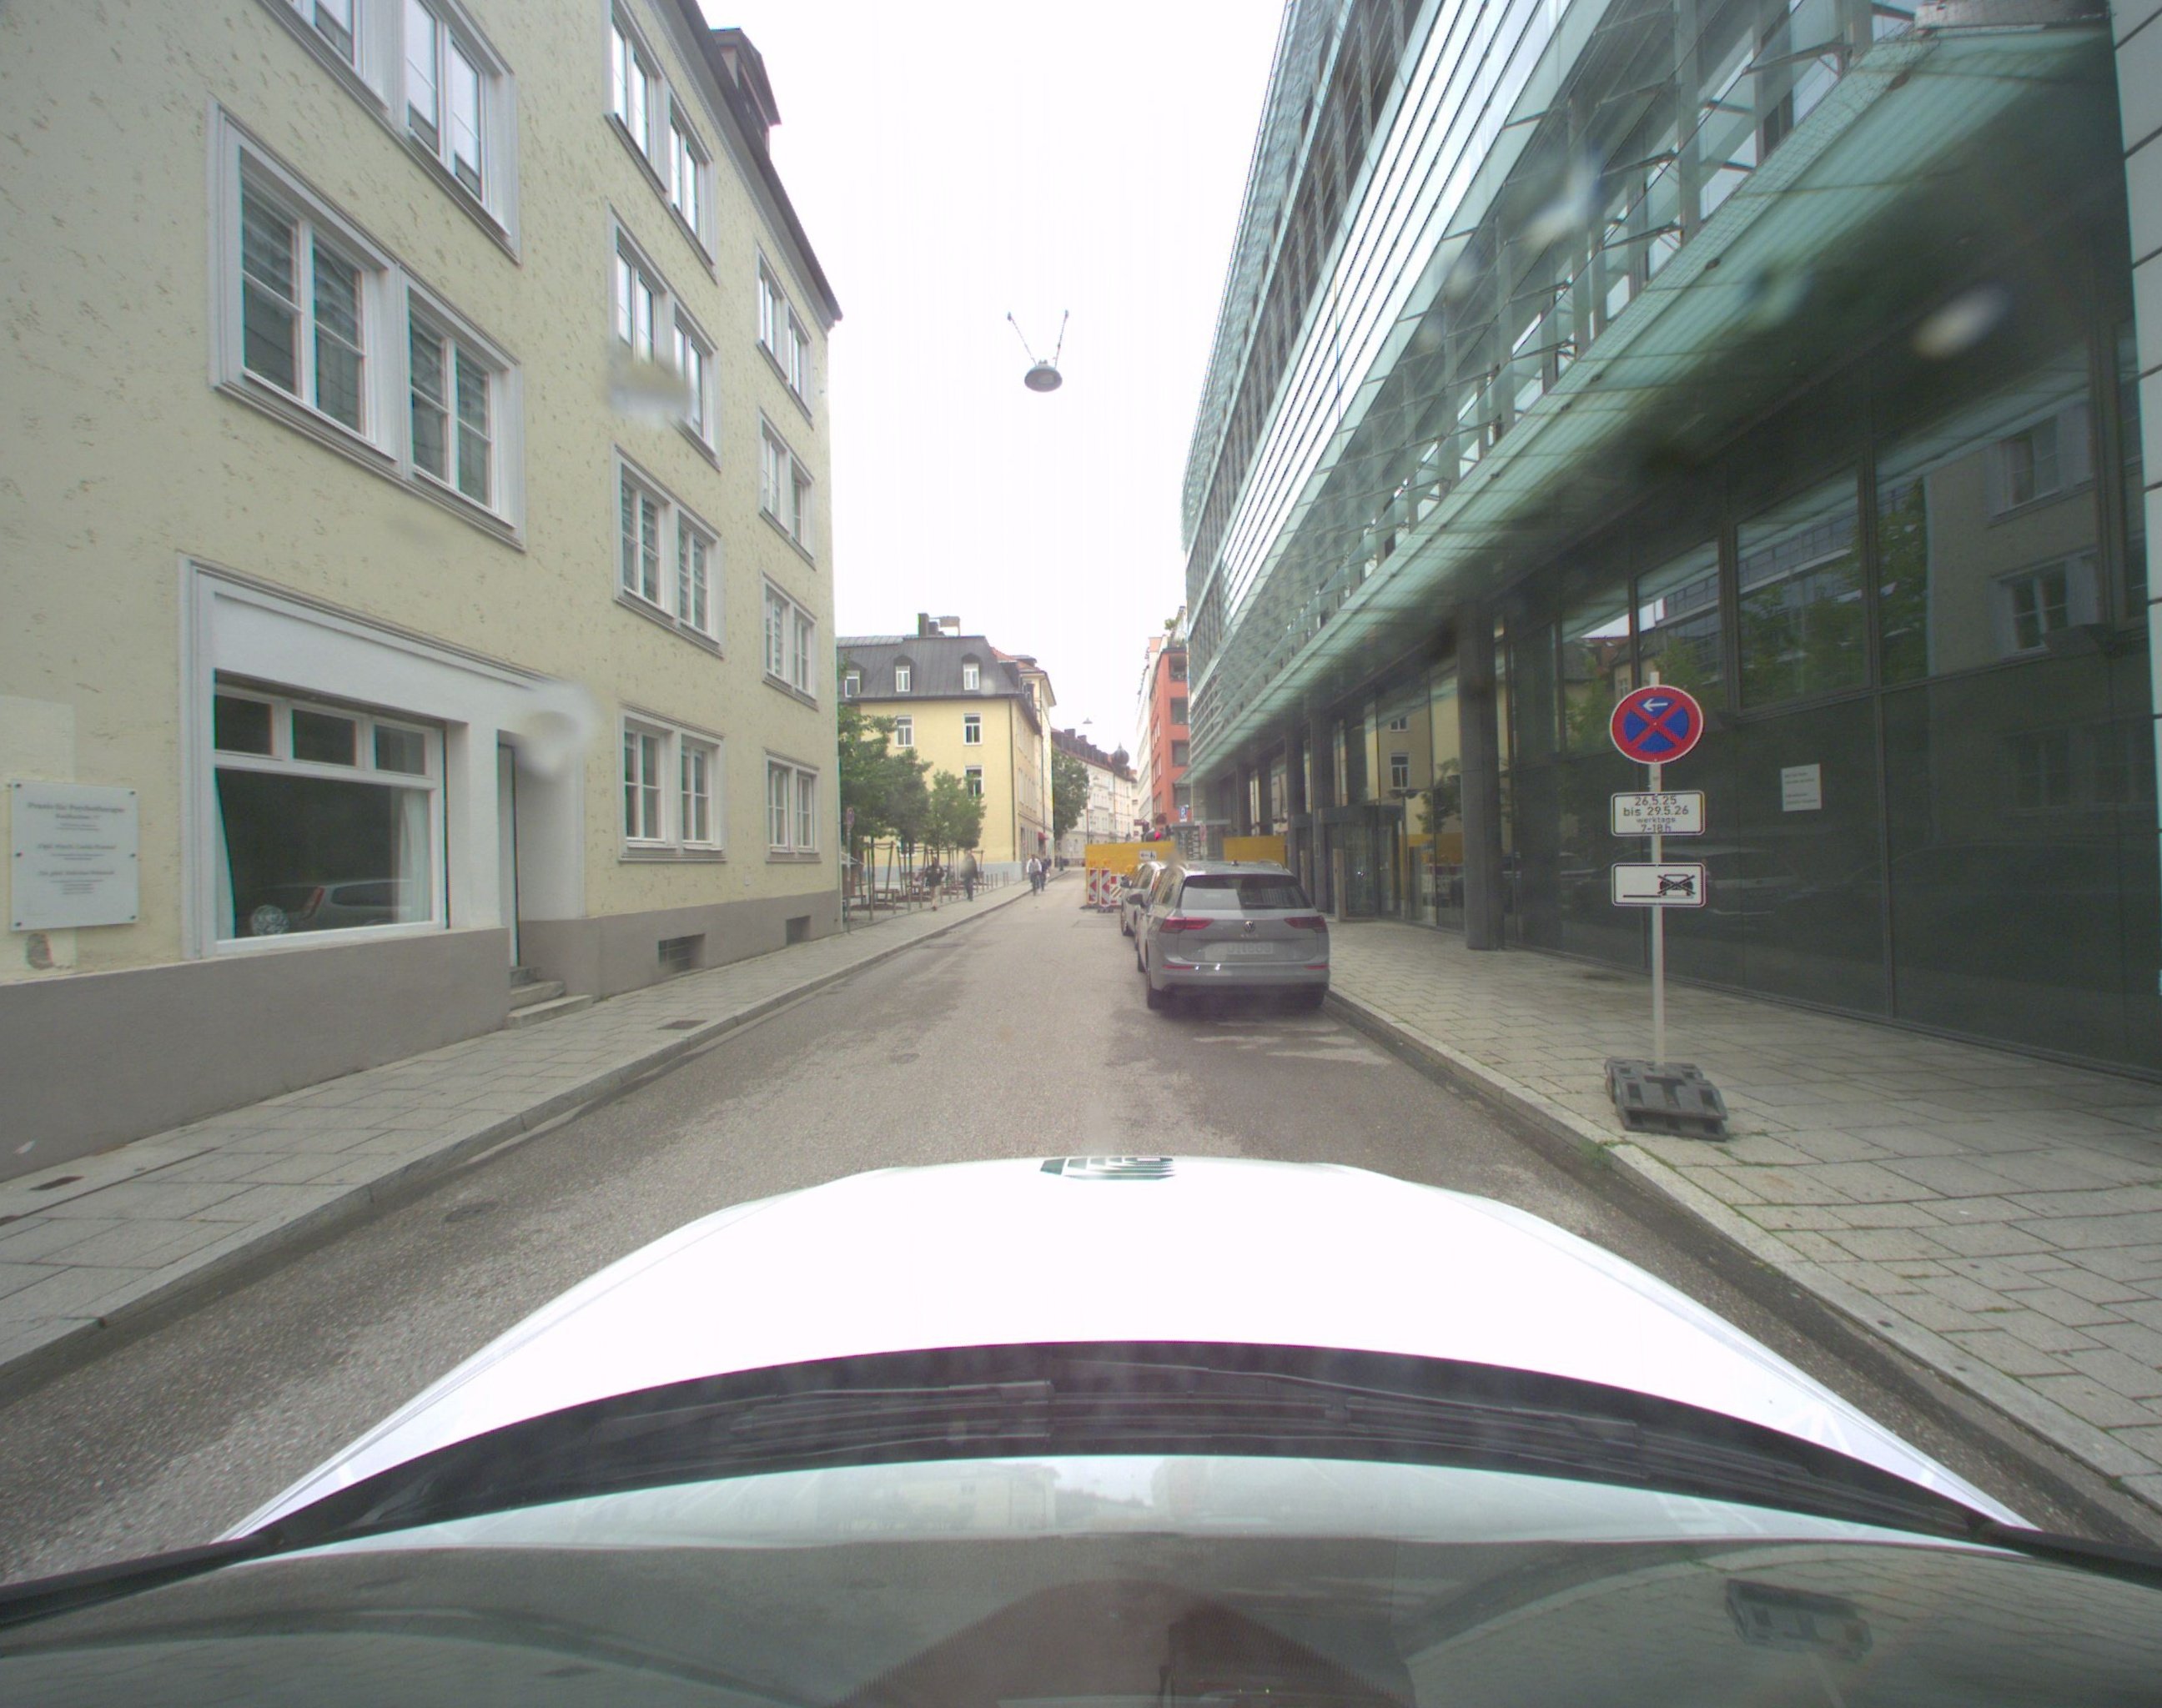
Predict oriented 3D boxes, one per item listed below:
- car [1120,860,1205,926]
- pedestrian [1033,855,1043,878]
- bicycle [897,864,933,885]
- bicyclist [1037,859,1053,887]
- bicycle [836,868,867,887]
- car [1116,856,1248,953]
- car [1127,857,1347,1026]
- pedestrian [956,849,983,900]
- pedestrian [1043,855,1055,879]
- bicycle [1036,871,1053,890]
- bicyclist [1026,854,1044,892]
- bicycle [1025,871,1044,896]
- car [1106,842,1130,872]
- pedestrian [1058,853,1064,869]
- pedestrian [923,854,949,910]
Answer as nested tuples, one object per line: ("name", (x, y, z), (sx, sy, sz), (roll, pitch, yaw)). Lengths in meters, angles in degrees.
("car", (1.863, 0.869, 19.742), (1.702, 1.414, 4.510), (0, -1, 1))
("pedestrian", (-3.121, 0.912, 58.959), (0.668, 1.648, 0.761), (-1, -1, 0))
("bicycle", (-9.962, 1.235, 48.903), (2.032, 1.198, 0.571), (-1, 0, 8))
("bicyclist", (-1.832, 0.948, 41.239), (0.705, 1.371, 0.813), (-2, -1, 1))
("bicycle", (-13.700, 1.398, 48.669), (1.648, 1.069, 0.598), (-1, -1, 5))
("car", (1.639, 0.792, 14.584), (1.703, 1.467, 4.233), (0, -1, -2))
("car", (1.489, 0.780, 9.290), (1.702, 1.432, 4.329), (-2, 0, 1))
("pedestrian", (-4.221, 0.754, 30.910), (0.865, 1.881, 1.135), (-1, -1, 0))
("pedestrian", (-2.307, 0.947, 58.635), (0.836, 1.700, 0.803), (-1, -1, 1))
("bicycle", (-1.816, 1.335, 41.176), (0.705, 0.905, 1.810), (-2, 0, 1))
("bicyclist", (-2.075, 0.848, 36.875), (0.657, 1.643, 0.895), (-2, -1, 1))
("bicycle", (-2.072, 1.300, 36.741), (0.659, 1.039, 2.005), (-2, 0, 1))
("car", (3.235, 0.291, 71.872), (1.987, 2.536, 4.975), (-1, 0, 1))
("pedestrian", (-2.070, 0.700, 84.904), (0.632, 1.675, 0.517), (-1, 0, 1))
("pedestrian", (-4.392, 0.848, 24.712), (0.645, 1.676, 0.724), (-1, -1, 0))
